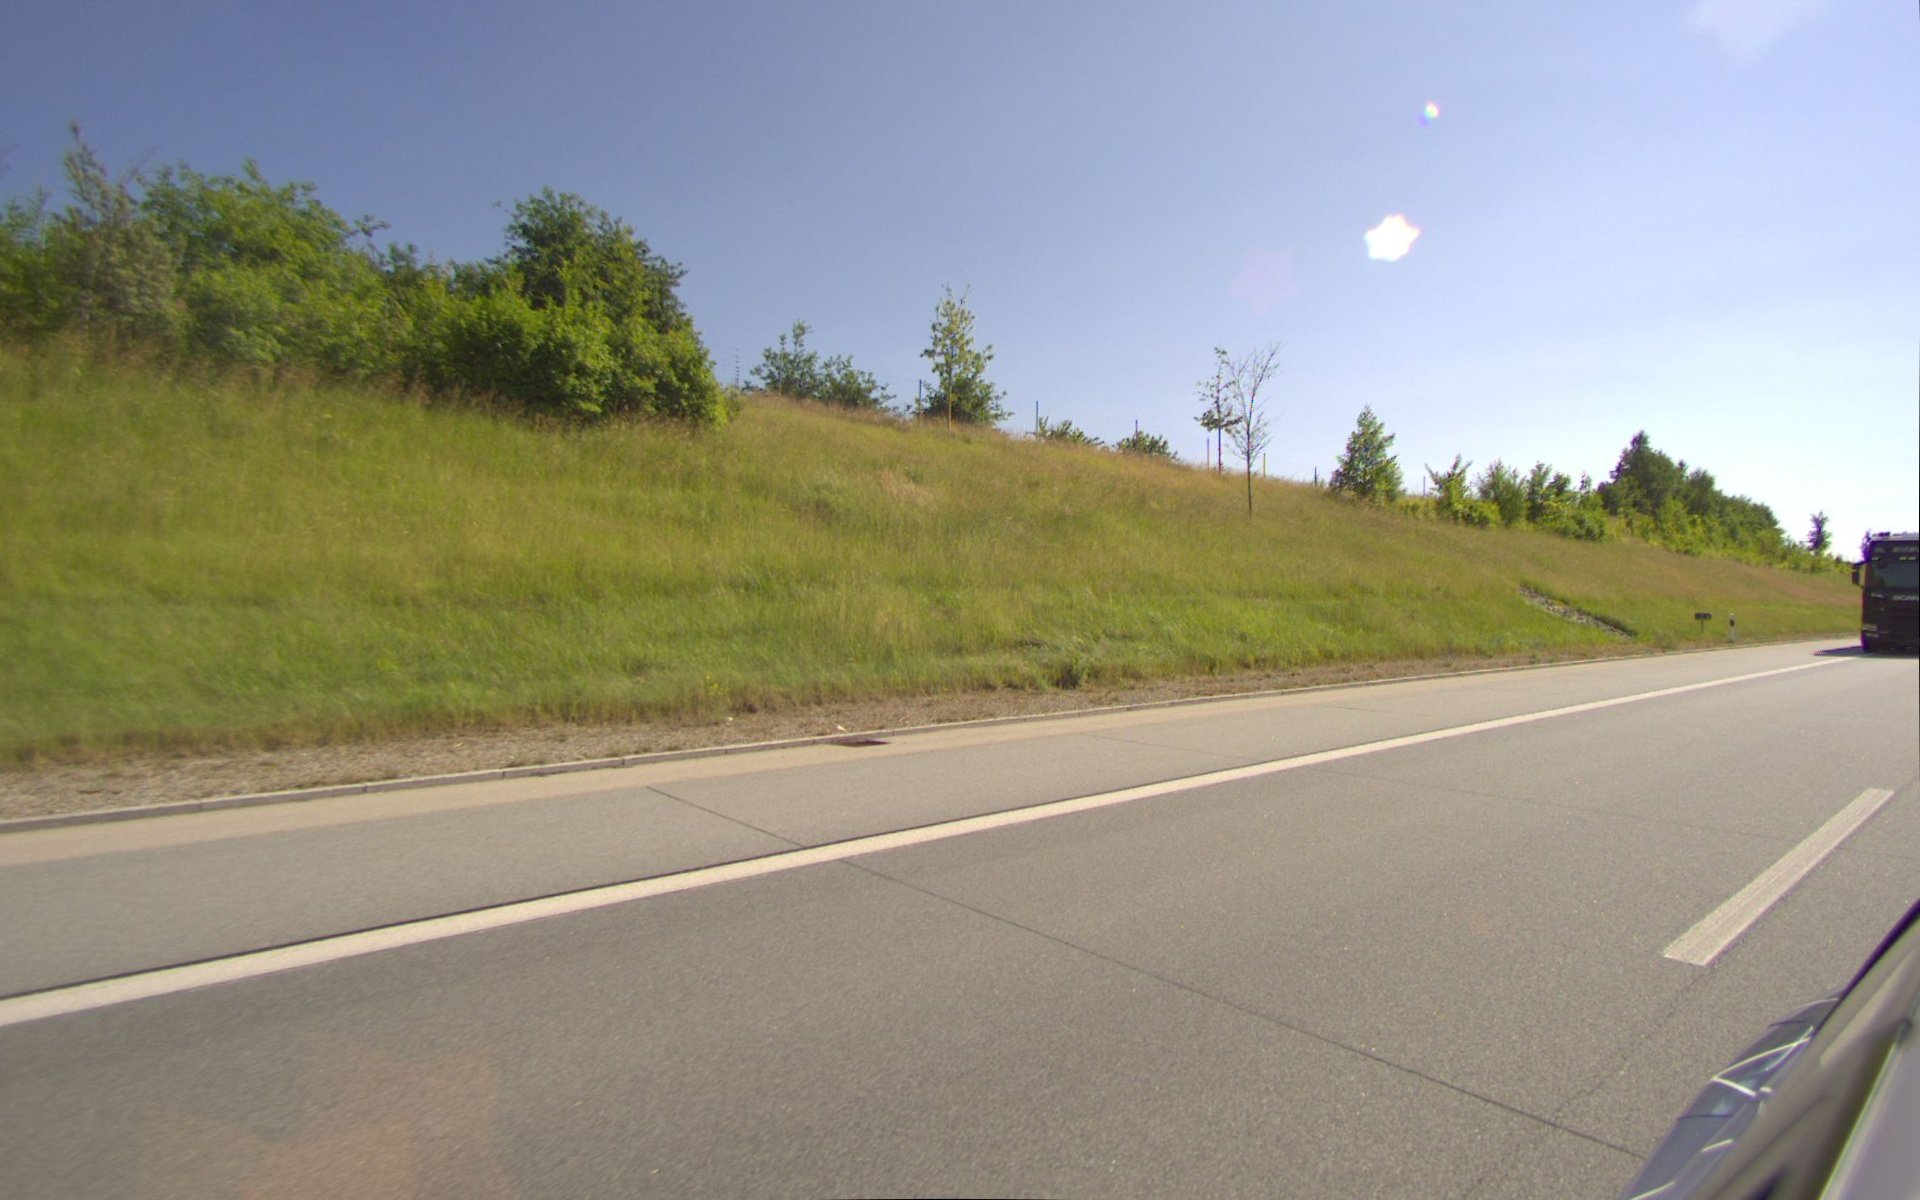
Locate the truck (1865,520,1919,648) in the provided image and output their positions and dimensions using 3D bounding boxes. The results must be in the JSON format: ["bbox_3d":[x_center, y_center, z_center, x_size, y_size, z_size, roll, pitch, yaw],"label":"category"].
[{"bbox_3d":[34.204,-0.484,34.873,13.164,3.866,2.622,0,0,-40],"label":"truck"}]
